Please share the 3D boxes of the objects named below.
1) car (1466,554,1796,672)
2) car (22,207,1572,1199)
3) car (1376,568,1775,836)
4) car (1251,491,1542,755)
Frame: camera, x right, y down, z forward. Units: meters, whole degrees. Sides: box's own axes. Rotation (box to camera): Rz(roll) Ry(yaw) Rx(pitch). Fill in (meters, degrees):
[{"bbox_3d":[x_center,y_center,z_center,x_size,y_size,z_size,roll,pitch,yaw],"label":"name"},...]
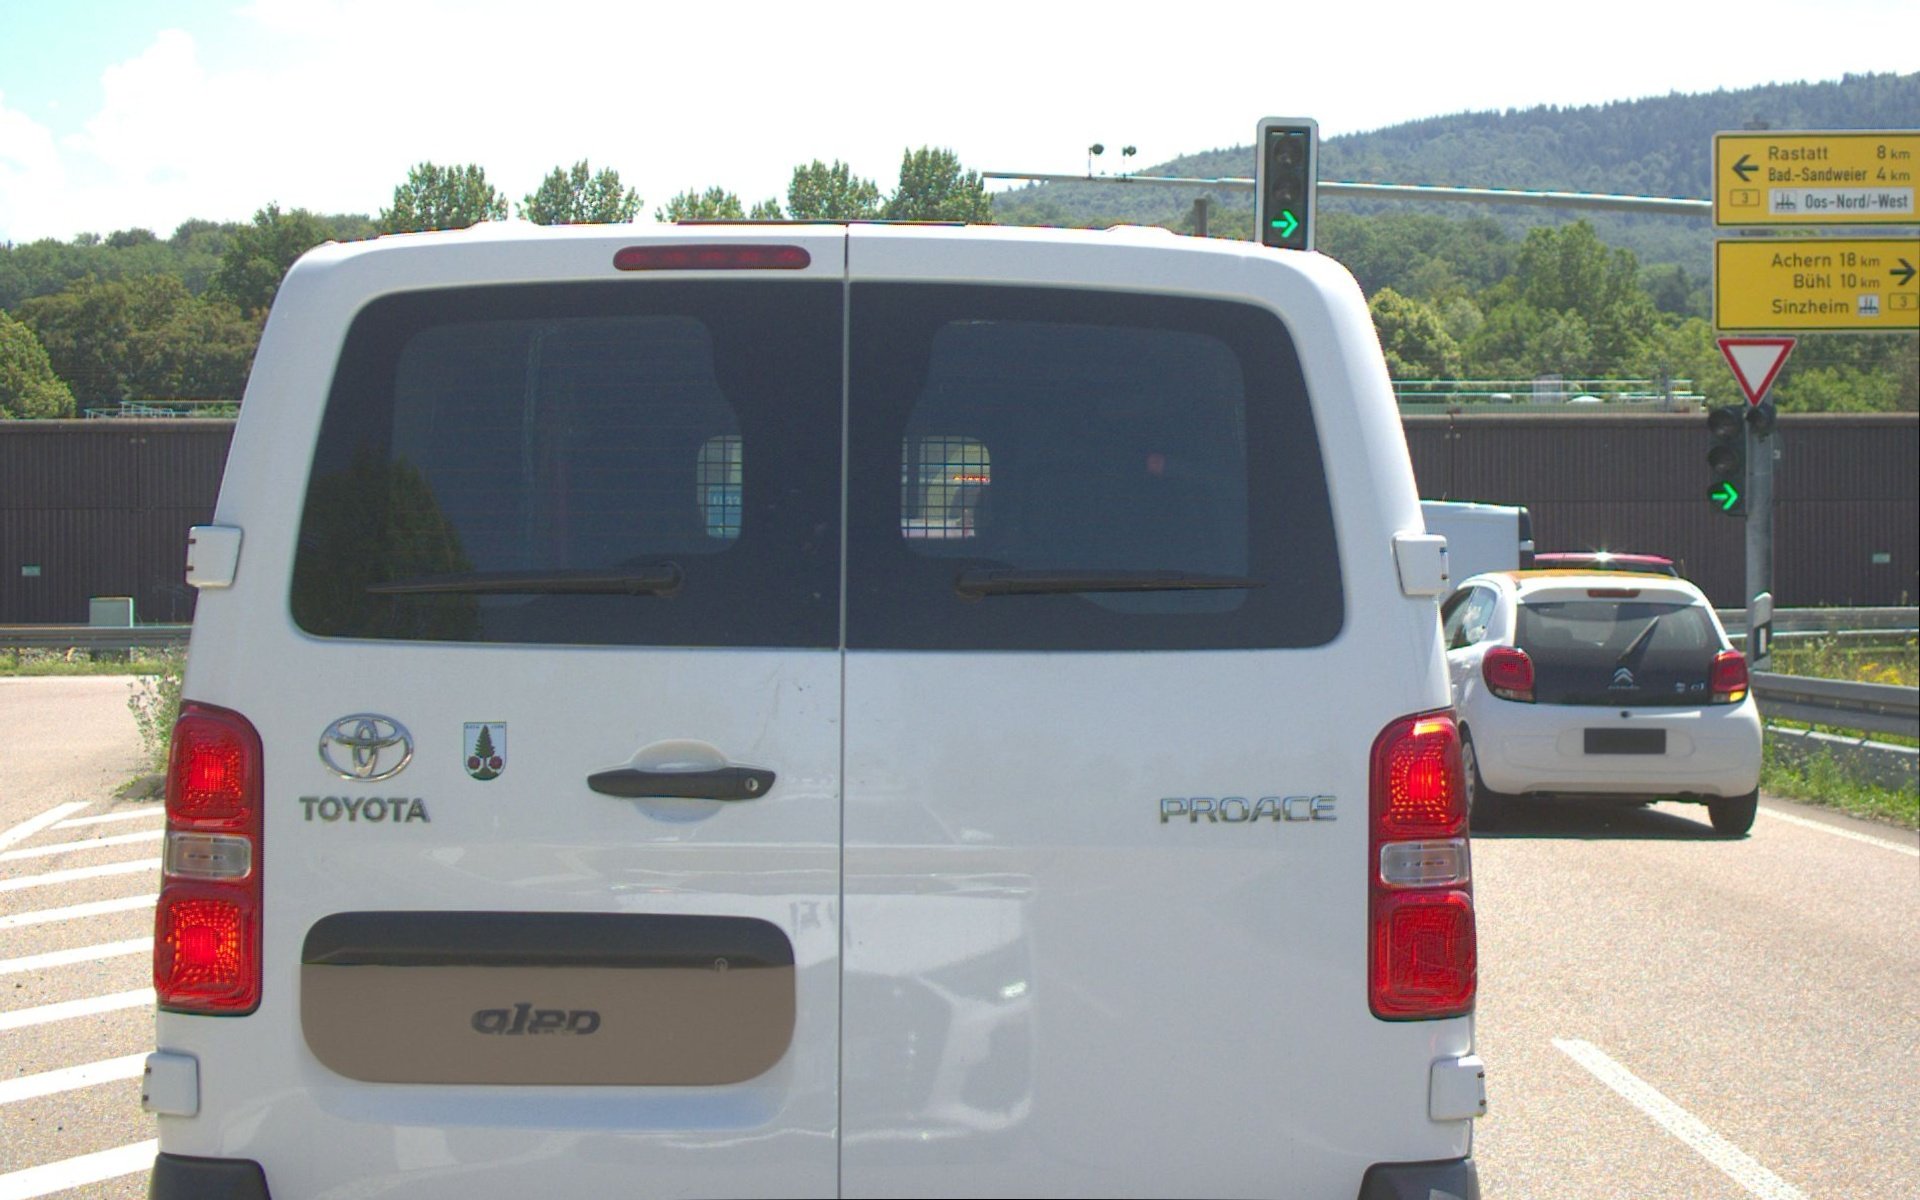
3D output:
[{"bbox_3d":[9.661,0.172,49.684,4.309,1.651,2.000,0,1,-3],"label":"car"},{"bbox_3d":[-0.241,0.451,6.217,1.886,1.880,4.000,1,1,-1],"label":"car"},{"bbox_3d":[3.524,0.535,20.225,1.656,1.426,3.366,1,1,-1],"label":"car"},{"bbox_3d":[3.529,0.152,28.617,1.928,1.993,4.837,1,1,2],"label":"car"}]
